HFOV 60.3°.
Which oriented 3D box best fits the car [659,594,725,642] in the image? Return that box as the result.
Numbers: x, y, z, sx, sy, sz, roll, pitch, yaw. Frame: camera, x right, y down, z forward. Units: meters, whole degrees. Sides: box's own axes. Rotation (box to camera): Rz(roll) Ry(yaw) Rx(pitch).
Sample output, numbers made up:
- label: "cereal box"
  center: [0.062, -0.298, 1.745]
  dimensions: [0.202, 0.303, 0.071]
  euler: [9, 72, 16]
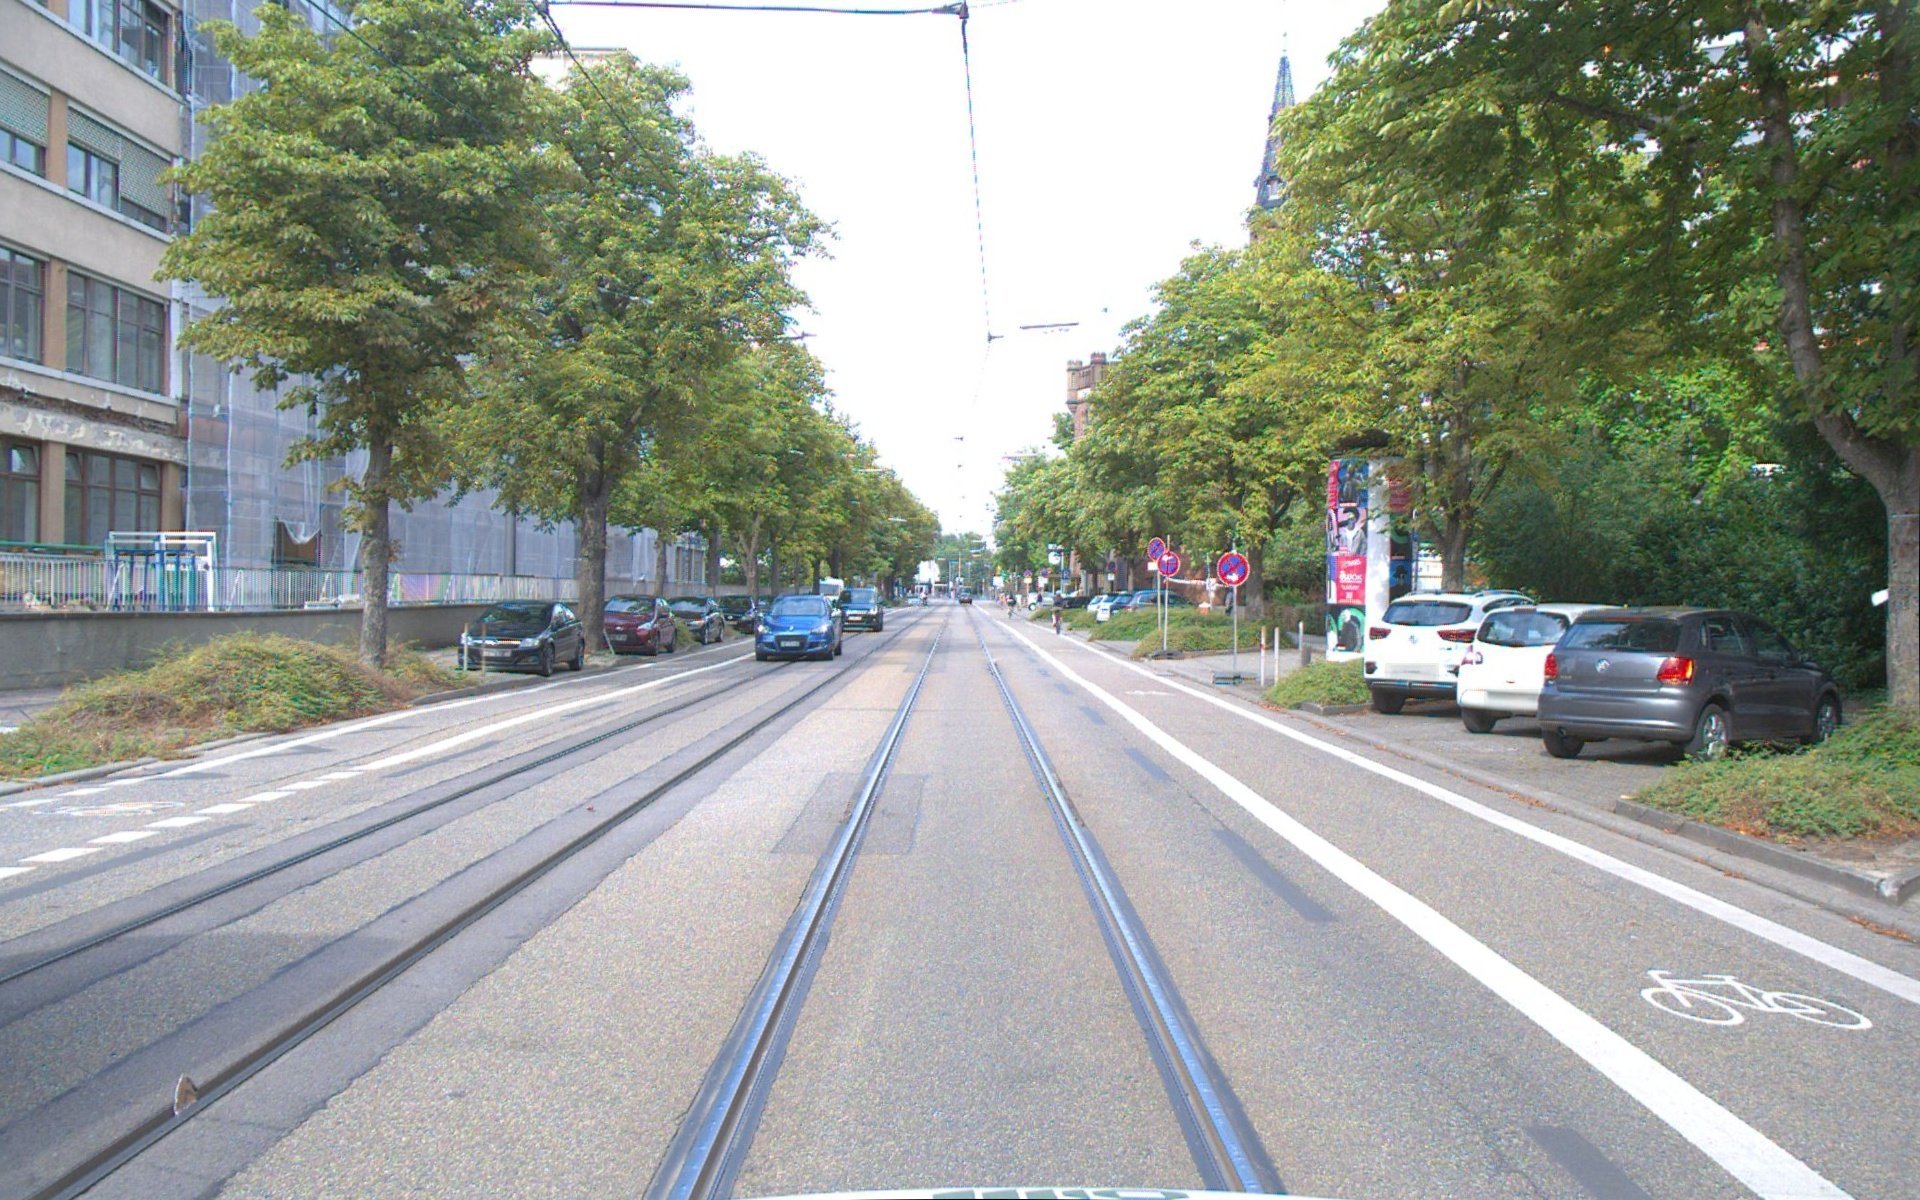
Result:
- label: "car"
  center: [-8.372, 0.548, 51.960]
  dimensions: [1.558, 1.427, 3.961]
  euler: [1, 0, -2]

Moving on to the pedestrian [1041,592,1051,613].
- label: "pedestrian"
  center: [7.519, 0.262, 144.525]
  dimensions: [0.732, 1.821, 0.731]
  euler: [1, -1, 15]

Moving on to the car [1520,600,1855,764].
- label: "car"
  center: [7.305, 0.750, 16.486]
  dimensions: [3.612, 1.444, 1.658]
  euler: [1, 0, -40]

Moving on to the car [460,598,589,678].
- label: "car"
  center: [-8.377, 0.685, 32.100]
  dimensions: [1.558, 1.427, 3.961]
  euler: [1, 0, -2]

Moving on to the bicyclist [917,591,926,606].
- label: "bicyclist"
  center: [-3.942, -0.129, 169.464]
  dimensions: [0.828, 1.531, 0.769]
  euler: [1, 0, 8]

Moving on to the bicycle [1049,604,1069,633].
- label: "bicycle"
  center: [3.824, 0.710, 63.872]
  dimensions: [0.581, 1.062, 1.977]
  euler: [1, 0, -2]

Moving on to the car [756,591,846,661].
- label: "car"
  center: [-3.664, 0.559, 38.774]
  dimensions: [1.697, 1.522, 4.378]
  euler: [0, 1, 0]

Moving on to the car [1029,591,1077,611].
- label: "car"
  center: [8.103, 0.059, 144.850]
  dimensions: [3.910, 1.722, 1.998]
  euler: [1, 0, -6]

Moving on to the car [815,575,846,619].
- label: "car"
  center: [-8.319, -0.186, 106.340]
  dimensions: [1.686, 2.751, 5.468]
  euler: [1, 0, -2]

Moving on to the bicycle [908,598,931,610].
- label: "bicycle"
  center: [-4.152, 0.395, 169.492]
  dimensions: [2.226, 1.210, 0.769]
  euler: [1, 0, 7]

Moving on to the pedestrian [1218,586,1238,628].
- label: "pedestrian"
  center: [12.206, 0.320, 75.238]
  dimensions: [0.769, 1.858, 0.662]
  euler: [1, 0, 20]

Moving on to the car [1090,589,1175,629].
- label: "car"
  center: [7.162, 0.380, 68.470]
  dimensions: [1.654, 1.630, 3.621]
  euler: [0, 0, 44]

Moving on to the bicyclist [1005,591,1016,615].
- label: "bicyclist"
  center: [3.309, 0.202, 108.656]
  dimensions: [0.645, 1.522, 0.929]
  euler: [1, 0, 0]

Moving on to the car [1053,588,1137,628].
- label: "car"
  center: [5.774, 0.345, 70.597]
  dimensions: [1.654, 1.630, 3.621]
  euler: [0, 0, 44]

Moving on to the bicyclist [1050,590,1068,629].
- label: "bicyclist"
  center: [3.833, 0.355, 63.873]
  dimensions: [0.581, 1.485, 0.875]
  euler: [1, 0, -2]

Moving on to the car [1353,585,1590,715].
- label: "car"
  center: [7.050, 0.642, 22.626]
  dimensions: [1.654, 1.630, 3.621]
  euler: [0, 0, 44]

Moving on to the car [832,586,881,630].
- label: "car"
  center: [-3.957, 0.283, 63.803]
  dimensions: [1.697, 1.657, 4.377]
  euler: [-1, 0, -1]

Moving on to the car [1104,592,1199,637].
- label: "car"
  center: [7.160, 0.539, 61.671]
  dimensions: [1.654, 1.630, 3.621]
  euler: [0, 0, 44]

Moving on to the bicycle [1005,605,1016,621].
- label: "bicycle"
  center: [3.295, 0.845, 108.652]
  dimensions: [0.650, 1.062, 1.841]
  euler: [1, 0, 0]

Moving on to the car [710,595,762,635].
- label: "car"
  center: [-8.401, 0.552, 62.271]
  dimensions: [1.558, 1.427, 3.961]
  euler: [1, 0, -2]

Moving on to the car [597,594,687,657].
- label: "car"
  center: [-8.161, 0.634, 42.763]
  dimensions: [1.602, 1.522, 3.962]
  euler: [1, 0, -1]

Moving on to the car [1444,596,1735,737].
- label: "car"
  center: [7.436, 0.726, 19.415]
  dimensions: [3.612, 1.500, 1.658]
  euler: [1, 0, -40]

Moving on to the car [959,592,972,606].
- label: "car"
  center: [0.758, -0.127, 228.890]
  dimensions: [1.758, 1.855, 4.677]
  euler: [1, 0, -1]

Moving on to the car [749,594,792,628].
- label: "car"
  center: [-8.281, 0.448, 72.572]
  dimensions: [1.558, 1.427, 3.961]
  euler: [1, 0, -2]

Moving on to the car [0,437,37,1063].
- label: "car"
  center: [-3.766, 0.463, 3.034]
  dimensions: [1.697, 1.917, 4.378]
  euler: [1, 0, -1]
